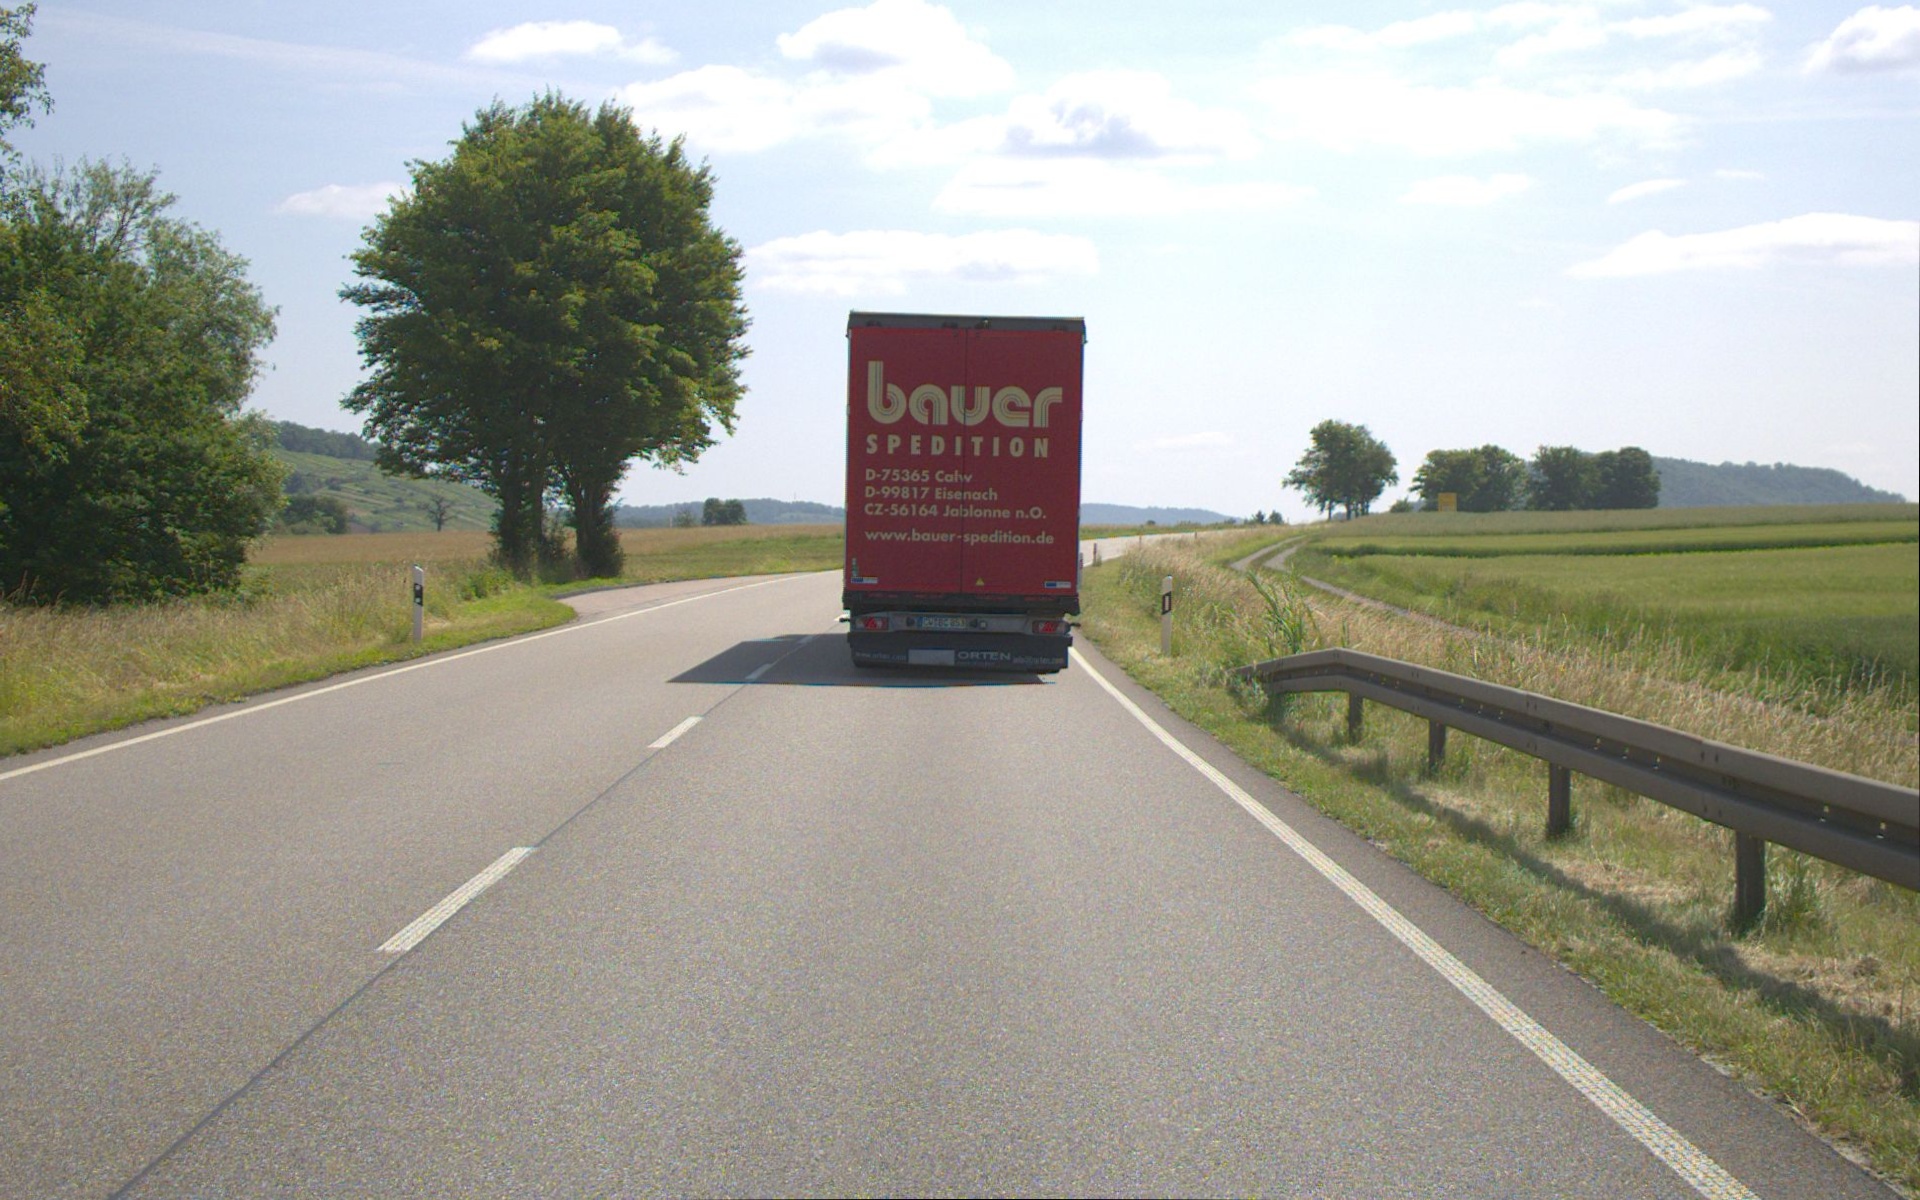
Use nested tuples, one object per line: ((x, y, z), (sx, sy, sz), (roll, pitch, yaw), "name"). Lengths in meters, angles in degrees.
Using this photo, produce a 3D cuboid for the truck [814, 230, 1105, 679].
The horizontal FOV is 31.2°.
((-0.141, -1.582, 41.209), (2.975, 4.697, 9.366), (1, 0, -2), "truck")
